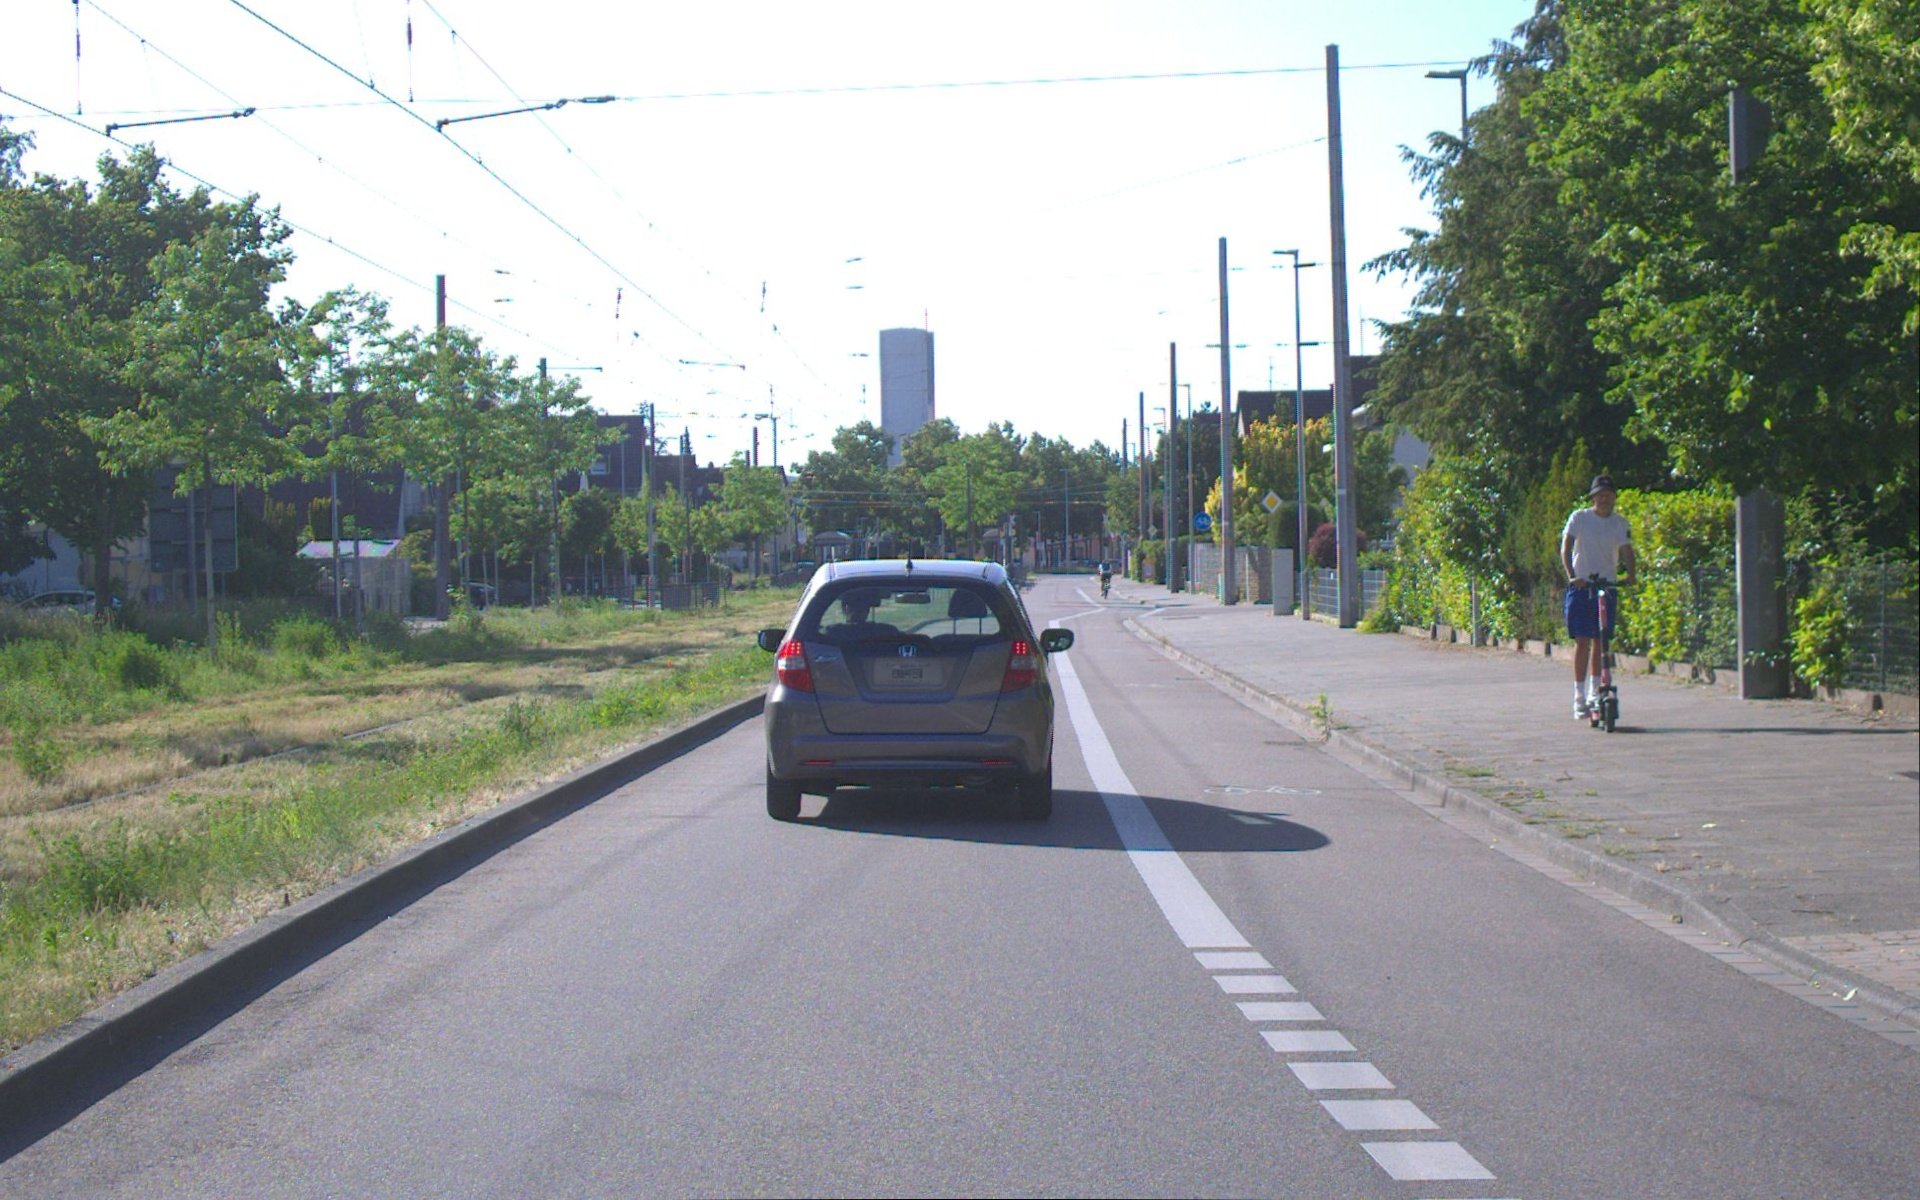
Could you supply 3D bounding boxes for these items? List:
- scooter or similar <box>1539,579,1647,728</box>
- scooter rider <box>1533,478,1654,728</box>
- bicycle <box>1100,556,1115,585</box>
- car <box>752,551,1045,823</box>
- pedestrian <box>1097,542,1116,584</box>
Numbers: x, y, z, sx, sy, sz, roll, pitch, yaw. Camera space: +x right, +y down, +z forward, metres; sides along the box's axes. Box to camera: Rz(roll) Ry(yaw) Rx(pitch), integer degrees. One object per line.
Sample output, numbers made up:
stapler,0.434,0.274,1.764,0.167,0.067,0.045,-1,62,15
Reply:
scooter or similar,4.933,0.404,26.852,0.539,1.114,1.417,-1,1,-1
scooter rider,4.913,0.018,26.691,0.716,1.894,0.935,-1,1,-1
bicycle,6.395,-1.291,149.026,0.512,1.237,3.090,-1,1,0
car,-0.341,0.466,21.031,1.624,1.494,3.457,1,1,0
pedestrian,6.365,-1.588,149.021,0.722,1.794,1.164,-1,1,0
